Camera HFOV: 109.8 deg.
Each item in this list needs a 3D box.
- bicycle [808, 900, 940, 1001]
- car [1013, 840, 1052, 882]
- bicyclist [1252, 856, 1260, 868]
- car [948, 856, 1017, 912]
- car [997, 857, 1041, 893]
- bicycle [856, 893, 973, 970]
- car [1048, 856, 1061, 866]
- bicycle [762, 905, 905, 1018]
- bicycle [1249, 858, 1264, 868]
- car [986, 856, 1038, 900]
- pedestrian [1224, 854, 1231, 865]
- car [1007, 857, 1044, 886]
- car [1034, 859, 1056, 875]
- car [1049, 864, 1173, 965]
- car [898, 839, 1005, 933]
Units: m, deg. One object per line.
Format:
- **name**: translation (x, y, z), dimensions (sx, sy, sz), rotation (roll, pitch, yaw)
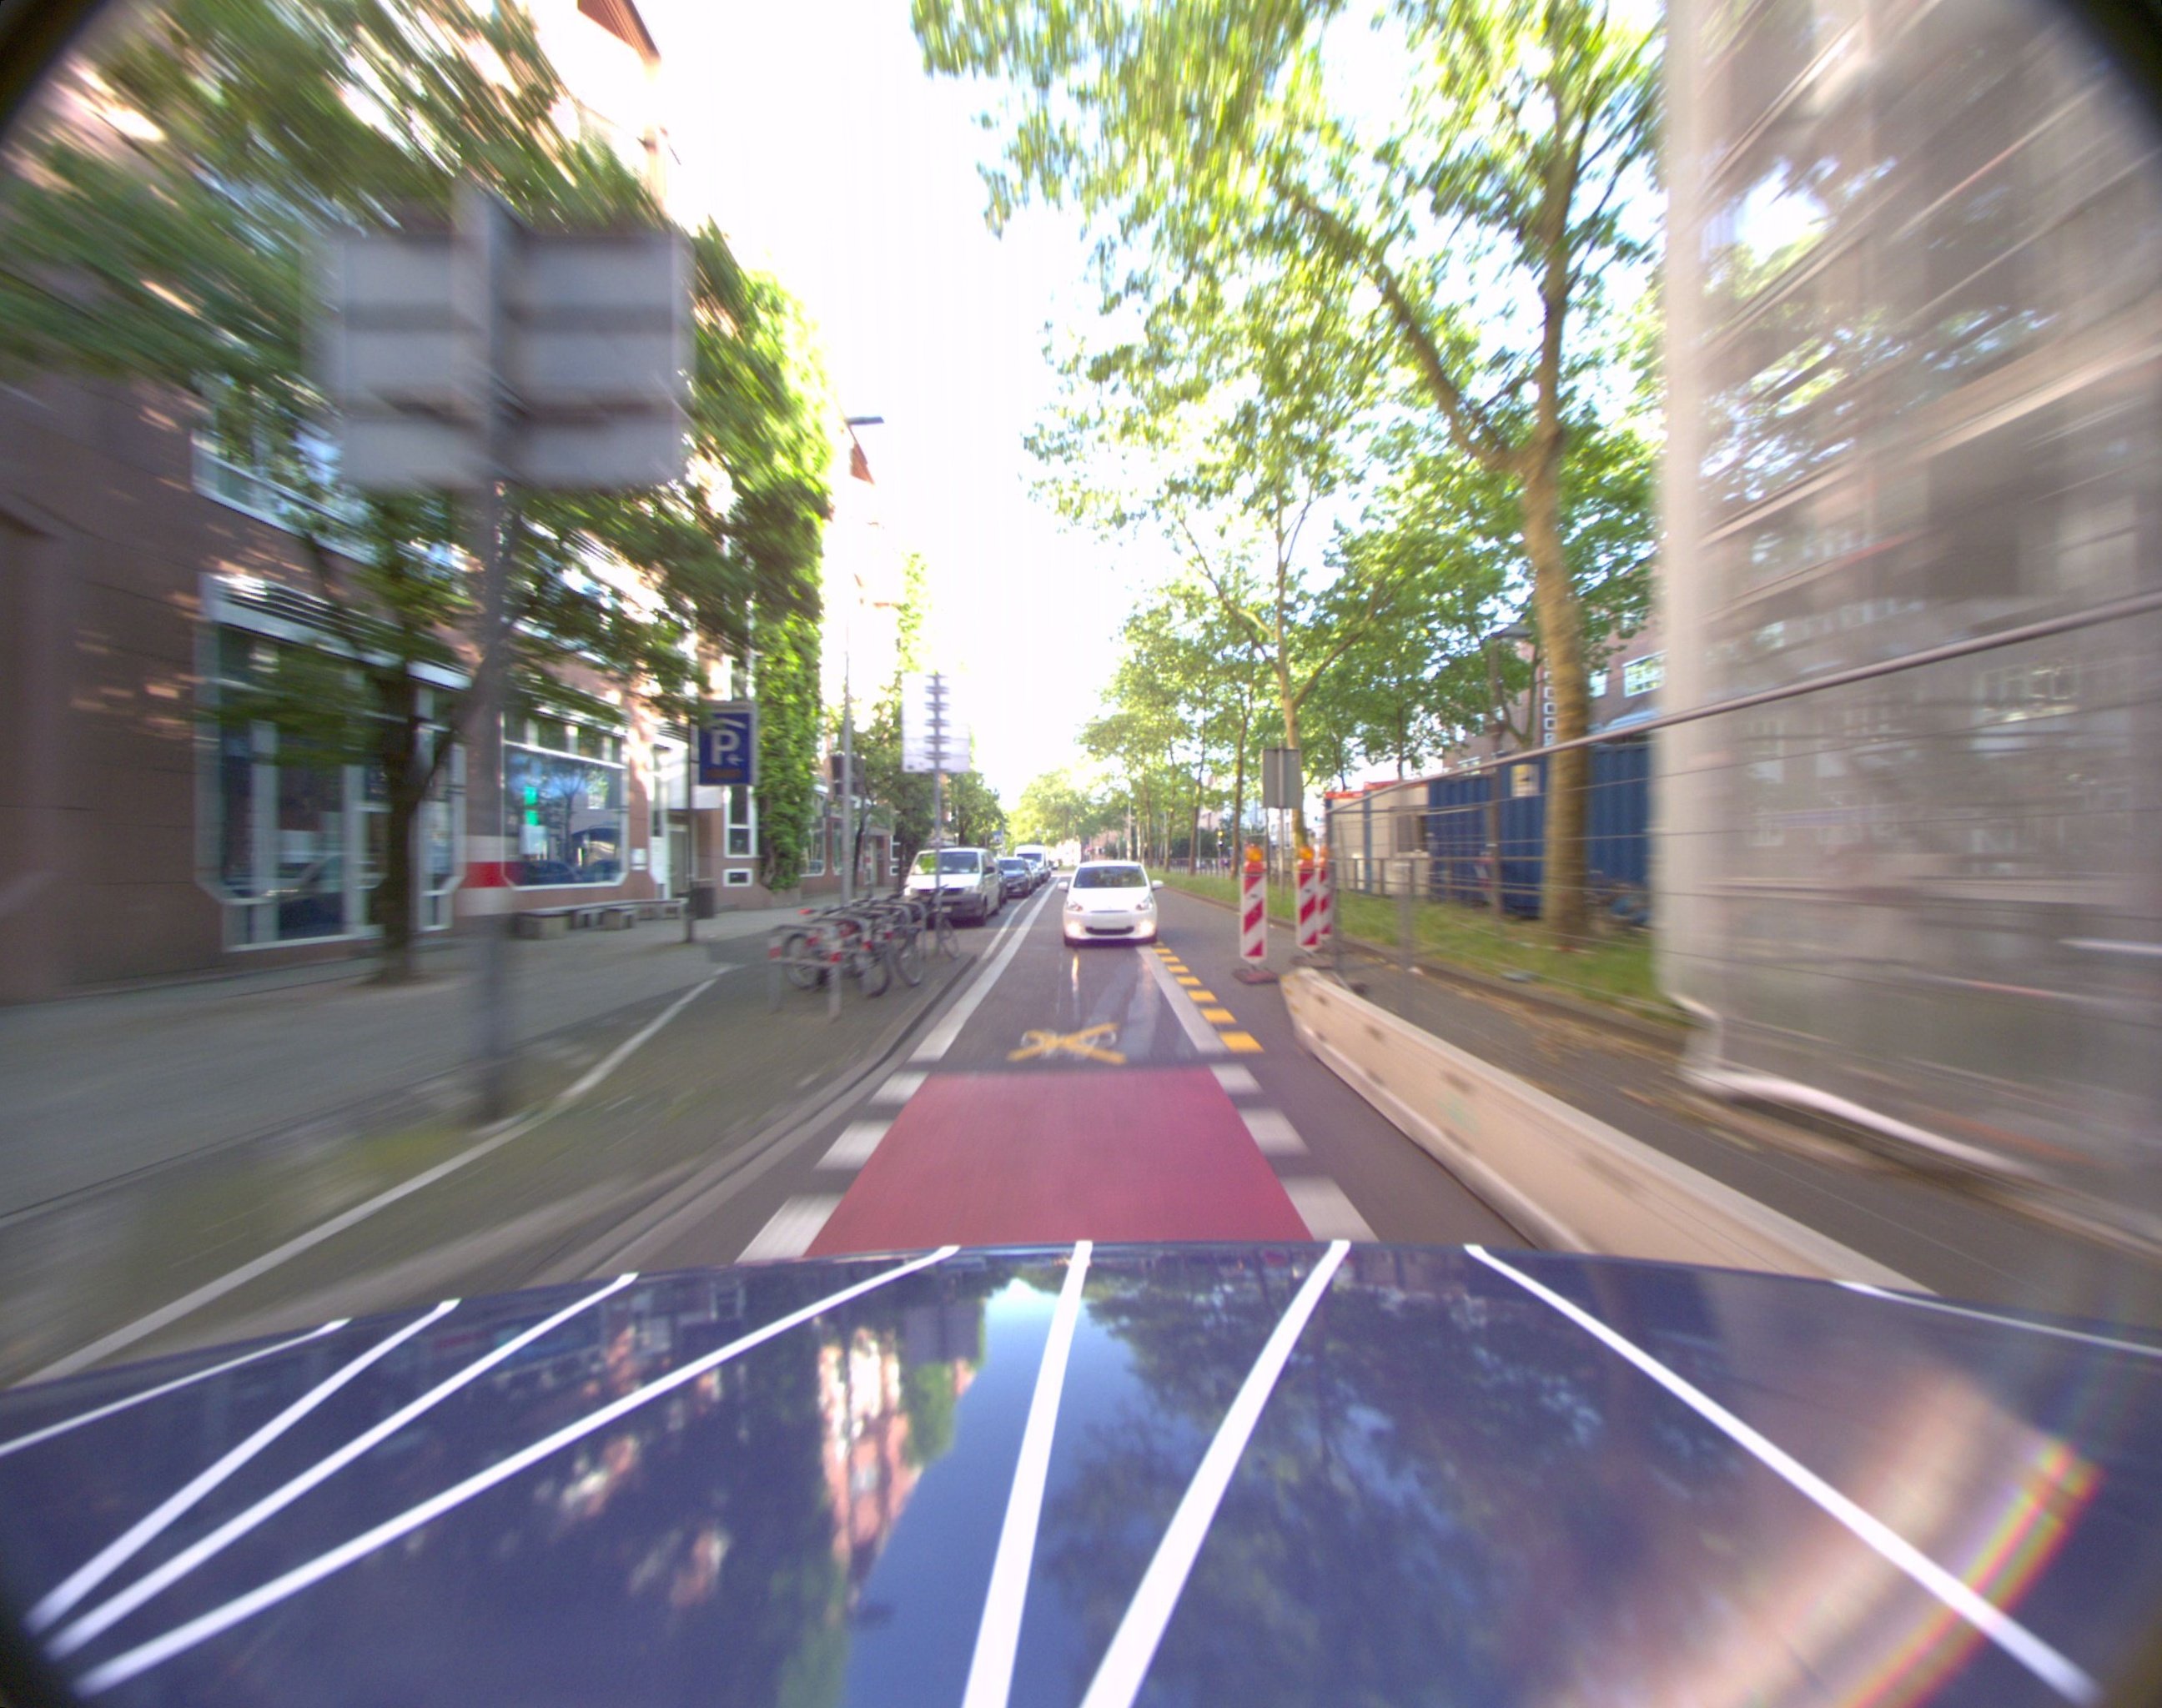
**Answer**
- **bicycle**: translation (-2.481, 1.099, 9.031), dimensions (1.678, 1.061, 0.501), rotation (-1, 0, 34)
- **car**: translation (-3.102, 0.425, 49.777), dimensions (2.120, 2.550, 5.905), rotation (-1, 0, 0)
- **bicyclist**: translation (23.097, 1.065, 100.224), dimensions (0.720, 1.639, 0.667), rotation (-3, 1, -31)
- **car**: translation (-3.179, 0.909, 25.188), dimensions (1.792, 1.660, 4.199), rotation (-1, 0, -1)
- **car**: translation (-2.930, 0.971, 36.679), dimensions (1.833, 1.569, 3.999), rotation (-1, 0, -1)
- **bicycle**: translation (-2.480, 1.121, 11.269), dimensions (1.679, 1.061, 0.512), rotation (-1, 0, 22)
- **car**: translation (-4.078, 1.056, 117.788), dimensions (1.999, 1.524, 3.999), rotation (-2, 1, -1)
- **bicycle**: translation (-2.681, 1.102, 8.159), dimensions (1.678, 1.061, 0.501), rotation (-1, 0, 34)
- **bicycle**: translation (23.119, 1.158, 100.207), dimensions (0.775, 1.254, 1.814), rotation (-3, 1, -31)
- **car**: translation (-2.783, 0.917, 31.334), dimensions (1.792, 1.660, 4.439), rotation (-1, 0, -1)
- **pedestrian**: translation (22.416, 0.786, 116.377), dimensions (1.006, 1.592, 0.876), rotation (-2, 1, 5)
- **car**: translation (-3.114, 0.946, 43.121), dimensions (1.833, 1.569, 3.999), rotation (-1, 0, -1)
- **car**: translation (-3.166, 1.127, 66.129), dimensions (1.809, 1.322, 3.990), rotation (-1, 0, -4)
- **car**: translation (0.380, 0.962, 13.914), dimensions (1.809, 1.492, 4.199), rotation (-1, 0, -4)
- **car**: translation (-3.154, 0.711, 19.535), dimensions (1.923, 2.066, 5.169), rotation (-1, 0, -1)
